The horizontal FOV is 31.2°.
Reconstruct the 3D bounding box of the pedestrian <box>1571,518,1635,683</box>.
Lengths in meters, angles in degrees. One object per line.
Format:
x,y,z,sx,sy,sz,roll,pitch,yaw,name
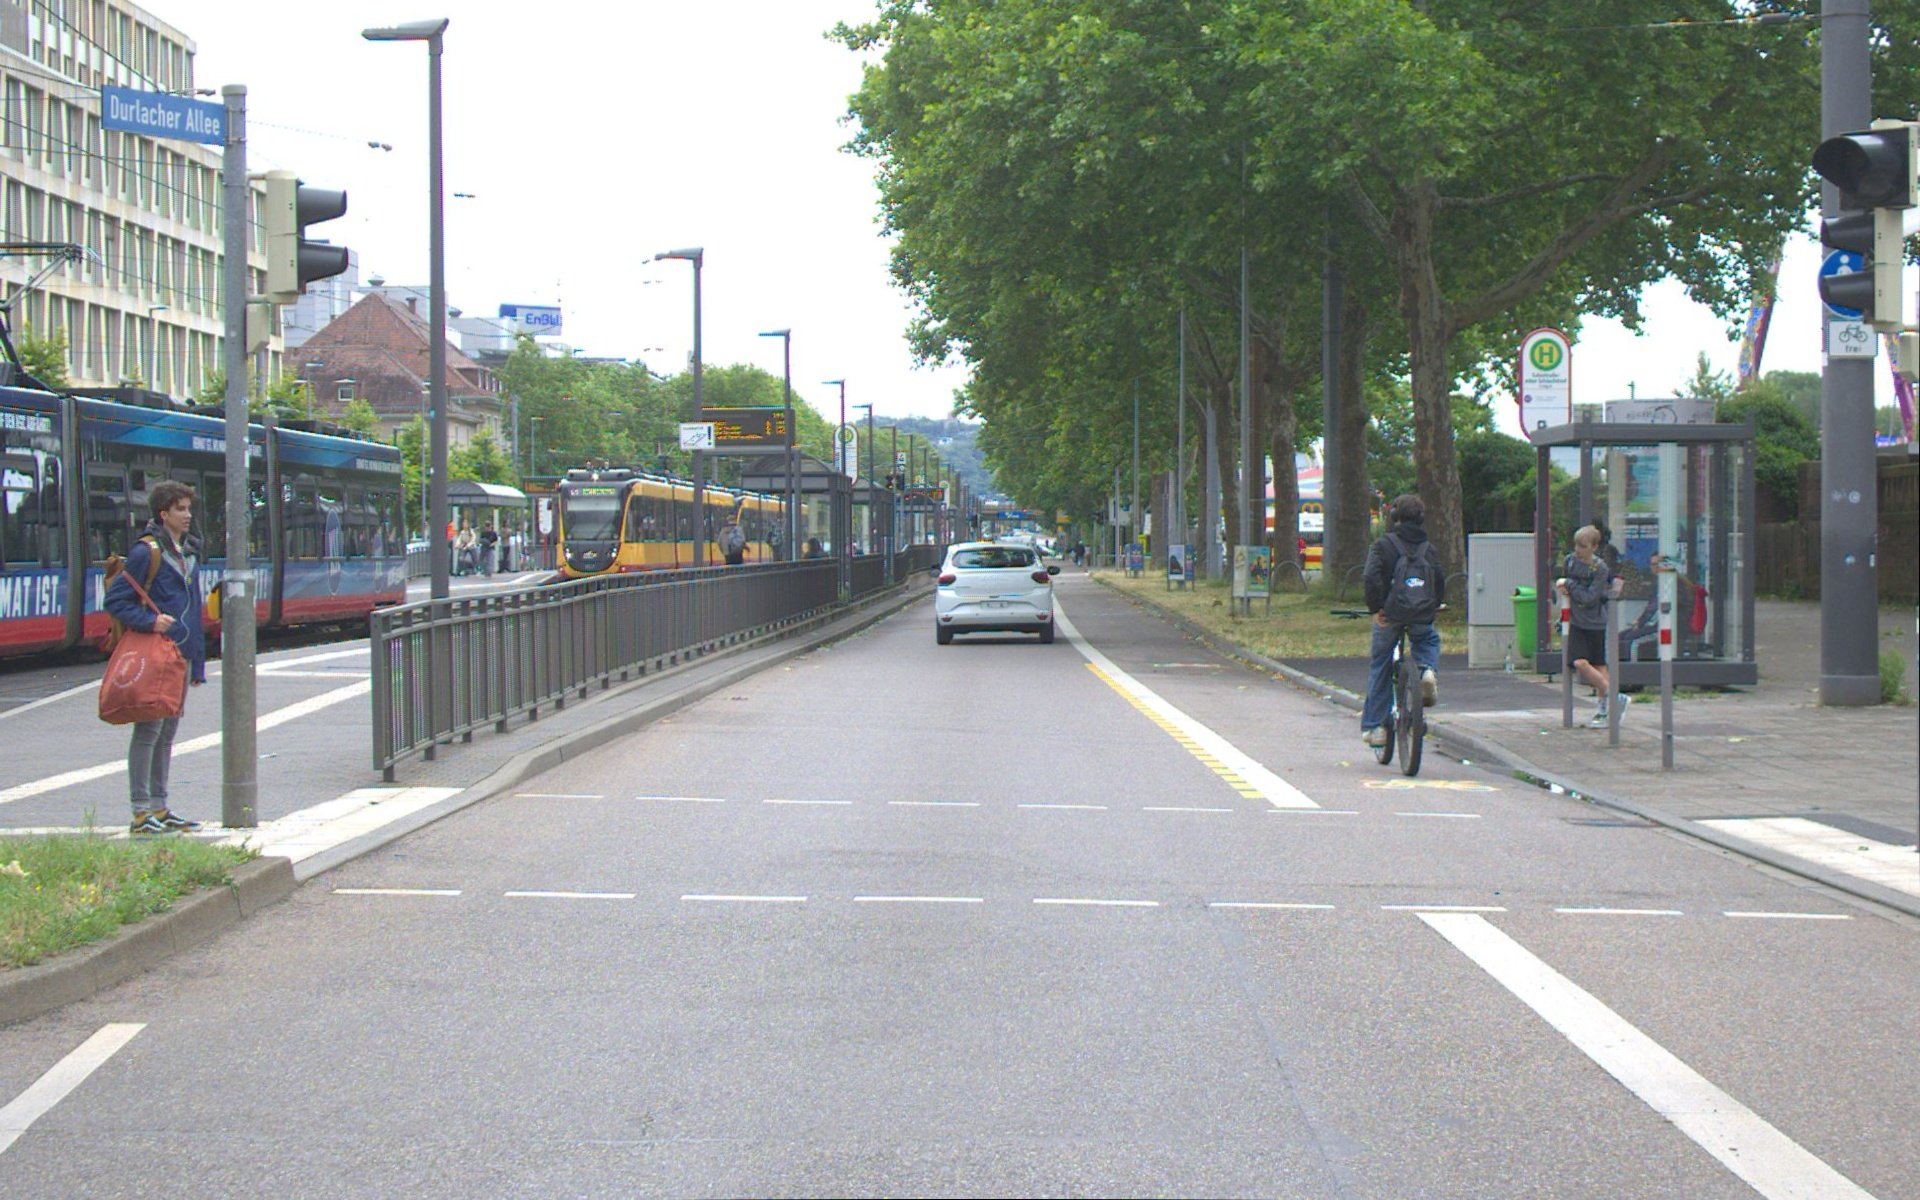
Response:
6.138,-0.001,32.824,0.476,1.558,0.702,0,0,1,pedestrian

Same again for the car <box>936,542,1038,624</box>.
0.559,-0.359,67.529,1.841,1.546,4.000,0,1,3,car

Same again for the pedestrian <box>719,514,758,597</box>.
-4.808,-0.964,74.592,0.670,1.787,1.113,-1,0,-12,pedestrian

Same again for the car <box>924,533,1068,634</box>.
0.585,-0.250,51.737,1.885,1.448,3.999,0,0,4,car

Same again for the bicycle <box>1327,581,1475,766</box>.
2.879,0.454,22.637,0.652,1.146,2.283,0,0,-1,bicycle

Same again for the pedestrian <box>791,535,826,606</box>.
-2.912,-0.567,66.103,0.610,1.336,0.600,0,0,2,pedestrian

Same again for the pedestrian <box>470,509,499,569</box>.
-14.359,-1.829,103.845,0.711,1.789,1.160,0,0,0,pedestrian

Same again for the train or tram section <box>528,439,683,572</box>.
-10.754,-2.790,105.562,3.237,3.849,11.311,0,0,2,train or tram section

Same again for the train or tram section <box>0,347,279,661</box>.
-11.804,-1.148,45.632,2.855,3.628,11.699,0,0,2,train or tram section

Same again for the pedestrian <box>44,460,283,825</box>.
-3.687,0.186,15.919,0.858,1.637,0.653,-1,0,-40,pedestrian

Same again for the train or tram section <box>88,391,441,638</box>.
-11.421,-1.333,58.186,2.855,3.679,13.520,0,0,2,train or tram section

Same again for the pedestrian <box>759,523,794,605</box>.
-4.034,-0.787,75.463,0.670,1.787,1.113,-1,0,-7,pedestrian

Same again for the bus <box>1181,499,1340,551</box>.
17.946,-4.473,205.404,9.277,2.950,2.000,0,0,-1,bus

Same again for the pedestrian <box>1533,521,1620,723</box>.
4.726,0.161,26.333,0.552,1.523,0.638,0,0,19,pedestrian

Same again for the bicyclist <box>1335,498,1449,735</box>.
2.820,0.105,22.490,0.641,1.525,0.665,0,0,-1,bicyclist

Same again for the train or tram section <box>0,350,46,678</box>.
-12.063,-0.904,33.949,2.854,3.628,11.766,0,0,0,train or tram section

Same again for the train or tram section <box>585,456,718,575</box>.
-10.402,-2.785,116.975,3.163,3.849,11.311,0,0,2,train or tram section

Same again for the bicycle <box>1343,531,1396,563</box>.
15.176,-1.963,127.418,1.890,1.101,0.550,-2,0,0,bicycle

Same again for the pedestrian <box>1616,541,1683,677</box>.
6.330,0.078,31.578,0.476,1.230,0.702,0,0,1,pedestrian
